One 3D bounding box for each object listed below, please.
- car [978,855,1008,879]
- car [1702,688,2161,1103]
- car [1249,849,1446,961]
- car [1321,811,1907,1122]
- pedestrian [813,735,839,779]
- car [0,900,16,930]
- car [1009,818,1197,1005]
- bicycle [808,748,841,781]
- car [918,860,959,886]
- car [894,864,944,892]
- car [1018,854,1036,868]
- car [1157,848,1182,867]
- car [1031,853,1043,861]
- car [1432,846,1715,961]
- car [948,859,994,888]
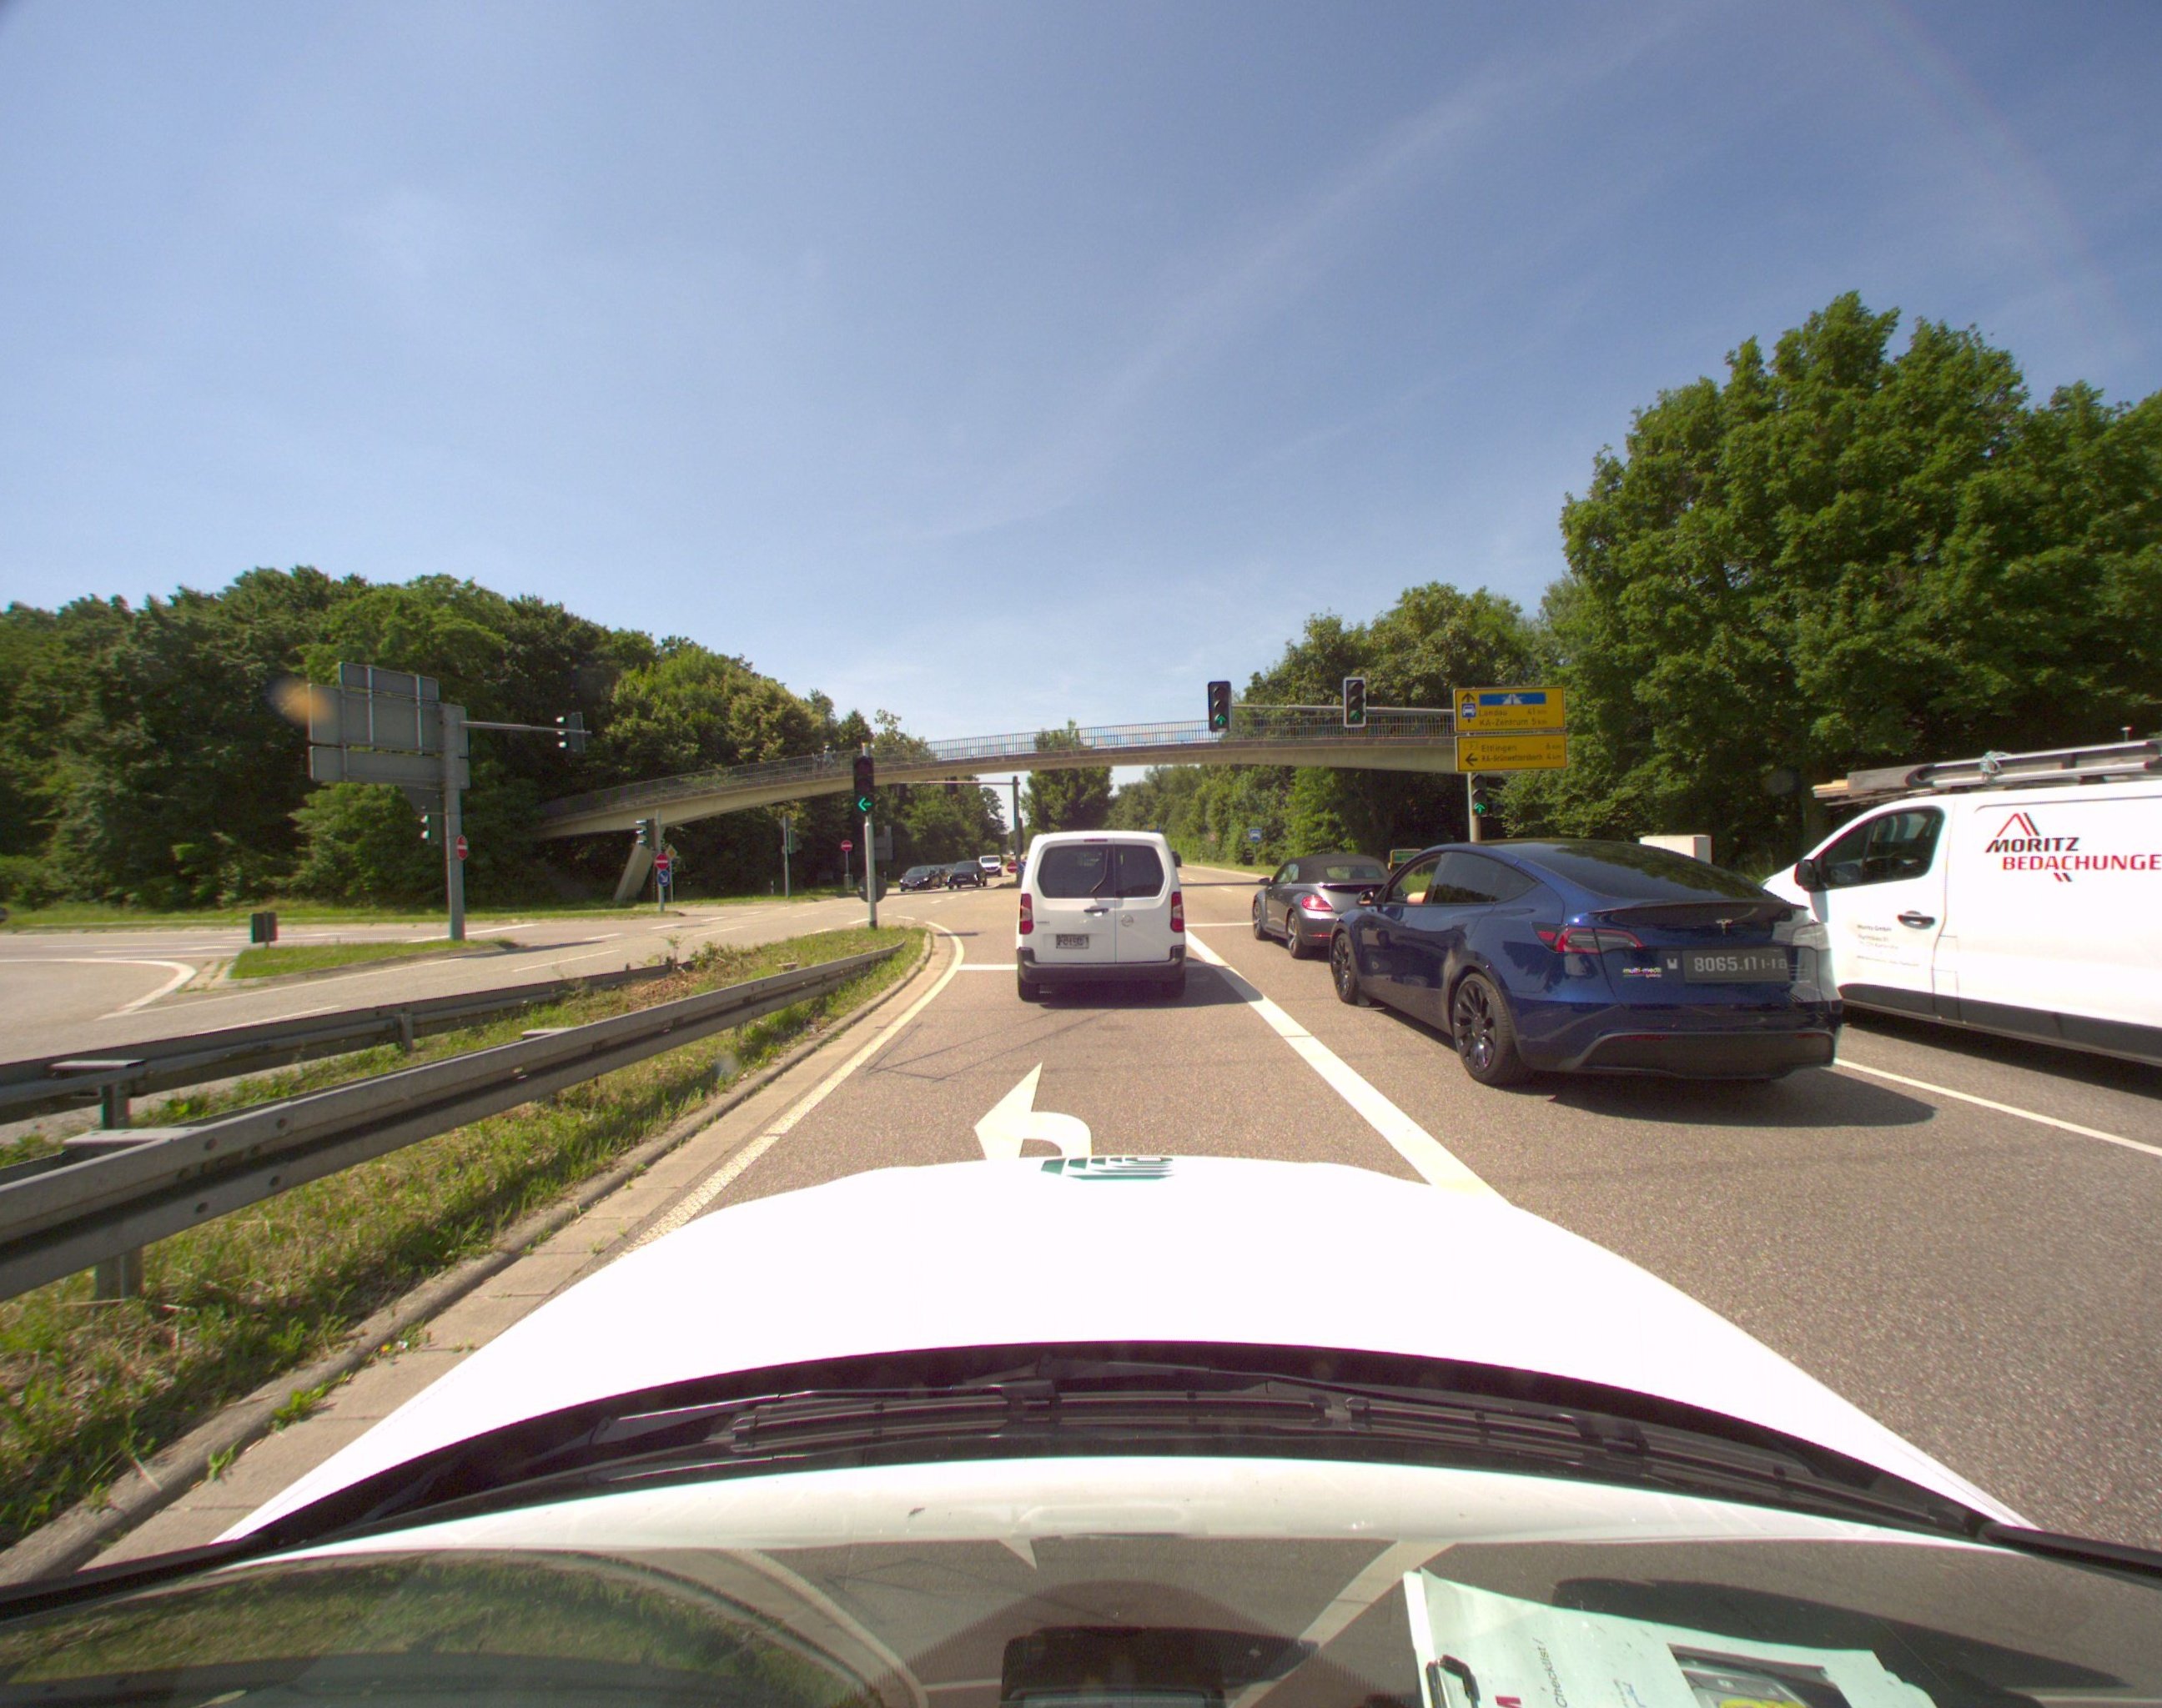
[{"bbox_3d":[-7.872,1.165,73.393,2.203,1.993,5.483,-3,0,-2],"label":"car"},{"bbox_3d":[7.103,0.230,5.566,1.926,2.349,5.076,-1,0,1],"label":"car"},{"bbox_3d":[3.941,0.673,12.770,1.893,1.478,3.940,-1,0,1],"label":"car"},{"bbox_3d":[3.505,0.598,6.604,1.893,1.644,4.522,-1,0,2],"label":"car"},{"bbox_3d":[-13.207,-5.007,42.132,0.776,2.140,0.936,-4,-2,17],"label":"pedestrian"},{"bbox_3d":[-54.146,3.045,38.917,4.735,1.373,2.007,-3,0,11],"label":"car"},{"bbox_3d":[0.247,0.548,10.035,1.843,1.825,3.982,-1,1,1],"label":"car"},{"bbox_3d":[-13.185,-4.601,41.887,1.515,1.474,0.472,-4,-2,17],"label":"bicycle"},{"bbox_3d":[-9.885,1.281,56.975,1.986,1.665,4.001,-3,0,2],"label":"car"},{"bbox_3d":[-9.730,1.393,49.127,2.001,1.460,4.056,-3,0,1],"label":"car"},{"bbox_3d":[-8.451,1.075,128.326,2.200,1.993,4.735,-3,0,1],"label":"car"},{"bbox_3d":[8.474,0.276,78.240,2.034,1.699,5.090,-2,0,3],"label":"car"},{"bbox_3d":[-9.354,0.714,173.594,2.001,1.601,4.056,-3,0,1],"label":"car"},{"bbox_3d":[7.369,0.644,12.819,1.893,1.478,4.382,-1,0,2],"label":"car"},{"bbox_3d":[-6.258,1.079,46.739,1.986,1.523,4.029,-2,0,1],"label":"car"}]
